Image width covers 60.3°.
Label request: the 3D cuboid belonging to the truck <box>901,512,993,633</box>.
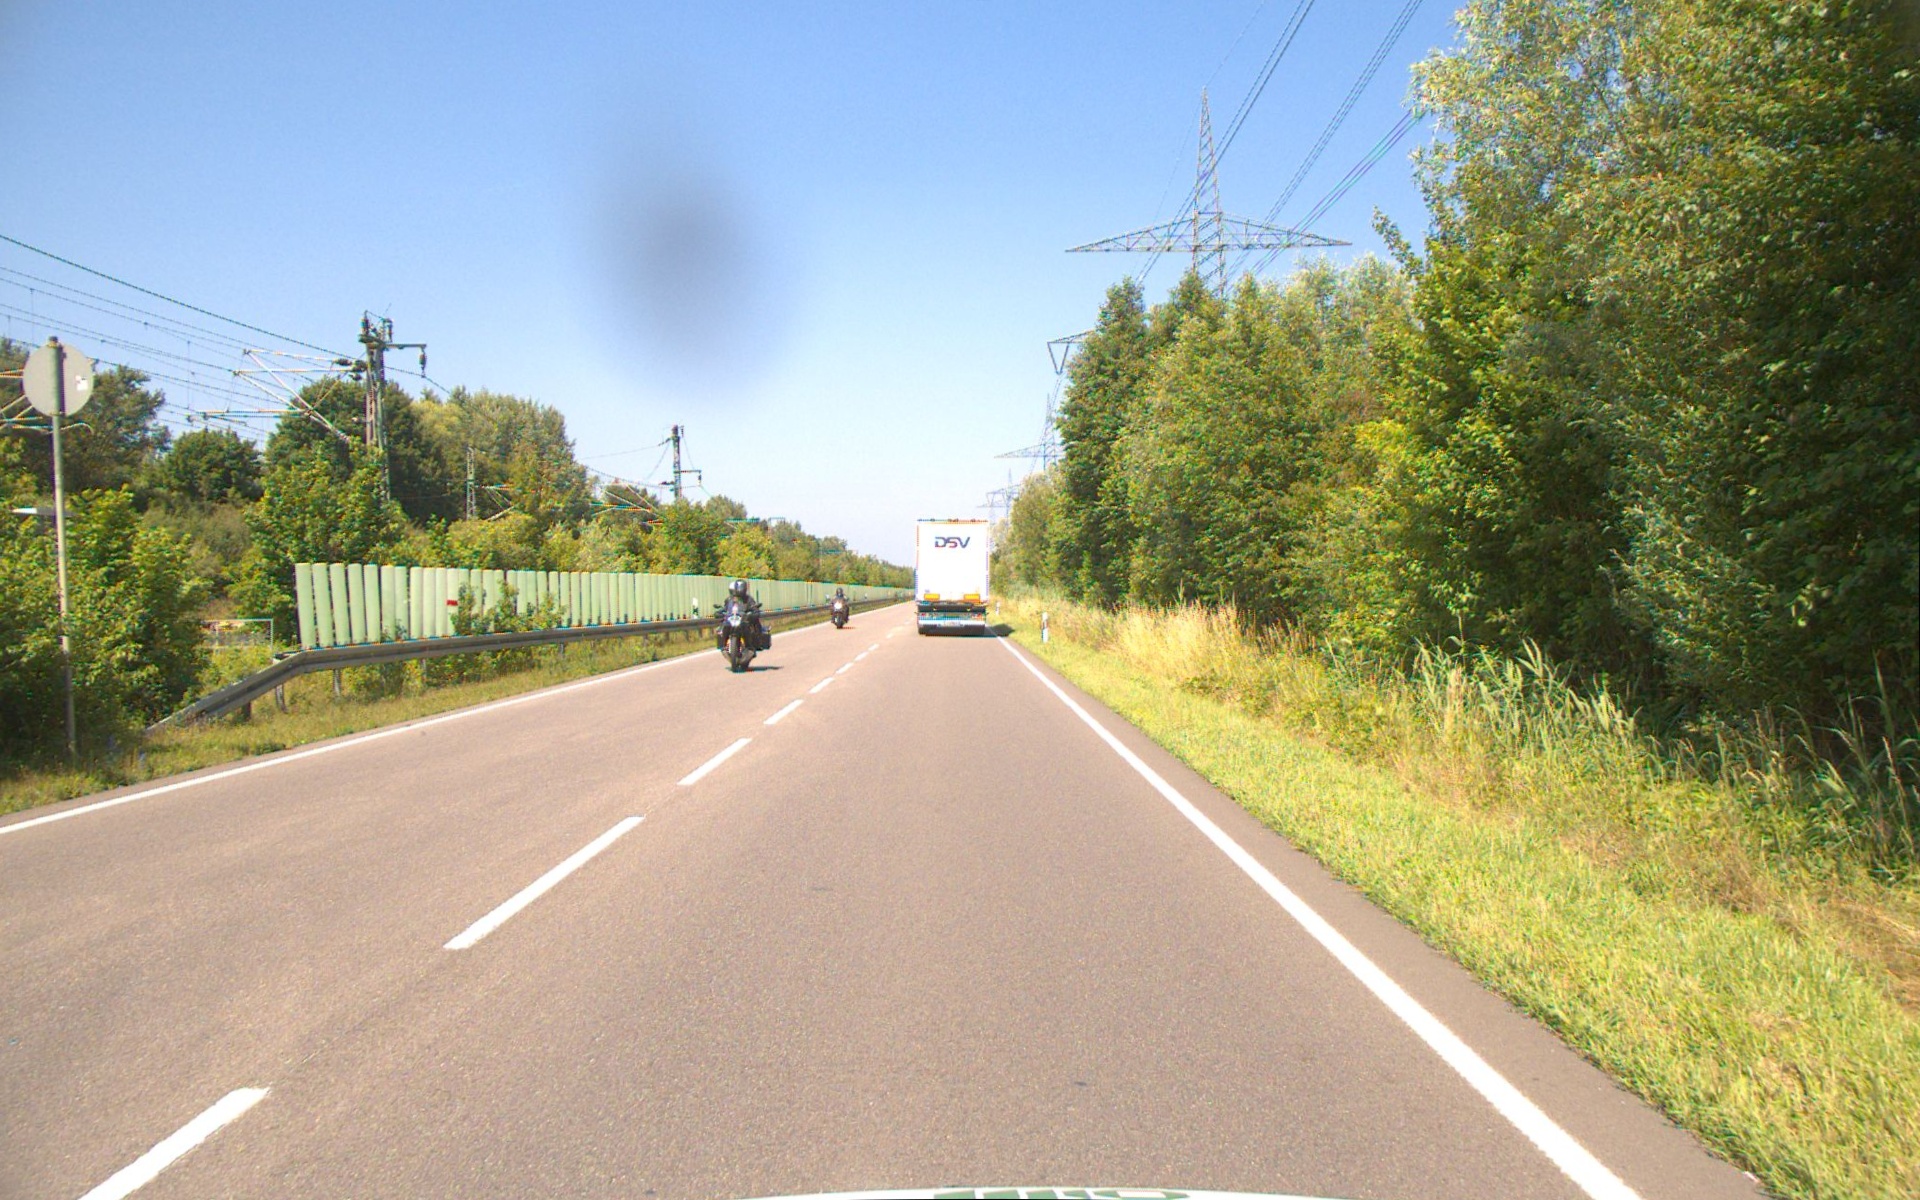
[{"bbox_3d":[-0.537,-0.966,62.222,3.127,4.113,12.004,0,0,-1],"label":"truck"}]

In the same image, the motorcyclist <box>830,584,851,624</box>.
[{"bbox_3d":[-4.908,0.171,68.134,0.742,1.610,1.003,1,0,1],"label":"motorcyclist"}]

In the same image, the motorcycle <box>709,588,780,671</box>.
[{"bbox_3d":[-4.147,0.544,31.996,0.948,1.522,2.630,1,0,1],"label":"motorcycle"}]

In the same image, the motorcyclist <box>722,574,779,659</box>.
[{"bbox_3d":[-4.130,0.324,32.699,0.939,1.637,1.003,1,0,1],"label":"motorcyclist"}]

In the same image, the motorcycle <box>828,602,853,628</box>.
[{"bbox_3d":[-4.919,0.613,68.204,0.738,1.031,2.721,1,0,1],"label":"motorcycle"}]

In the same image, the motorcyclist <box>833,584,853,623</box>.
[{"bbox_3d":[-4.894,0.162,69.096,0.734,1.610,0.864,1,0,1],"label":"motorcyclist"}]

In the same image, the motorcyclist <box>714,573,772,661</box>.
[{"bbox_3d":[-4.148,0.326,31.688,0.939,1.637,1.003,1,0,1],"label":"motorcyclist"}]
